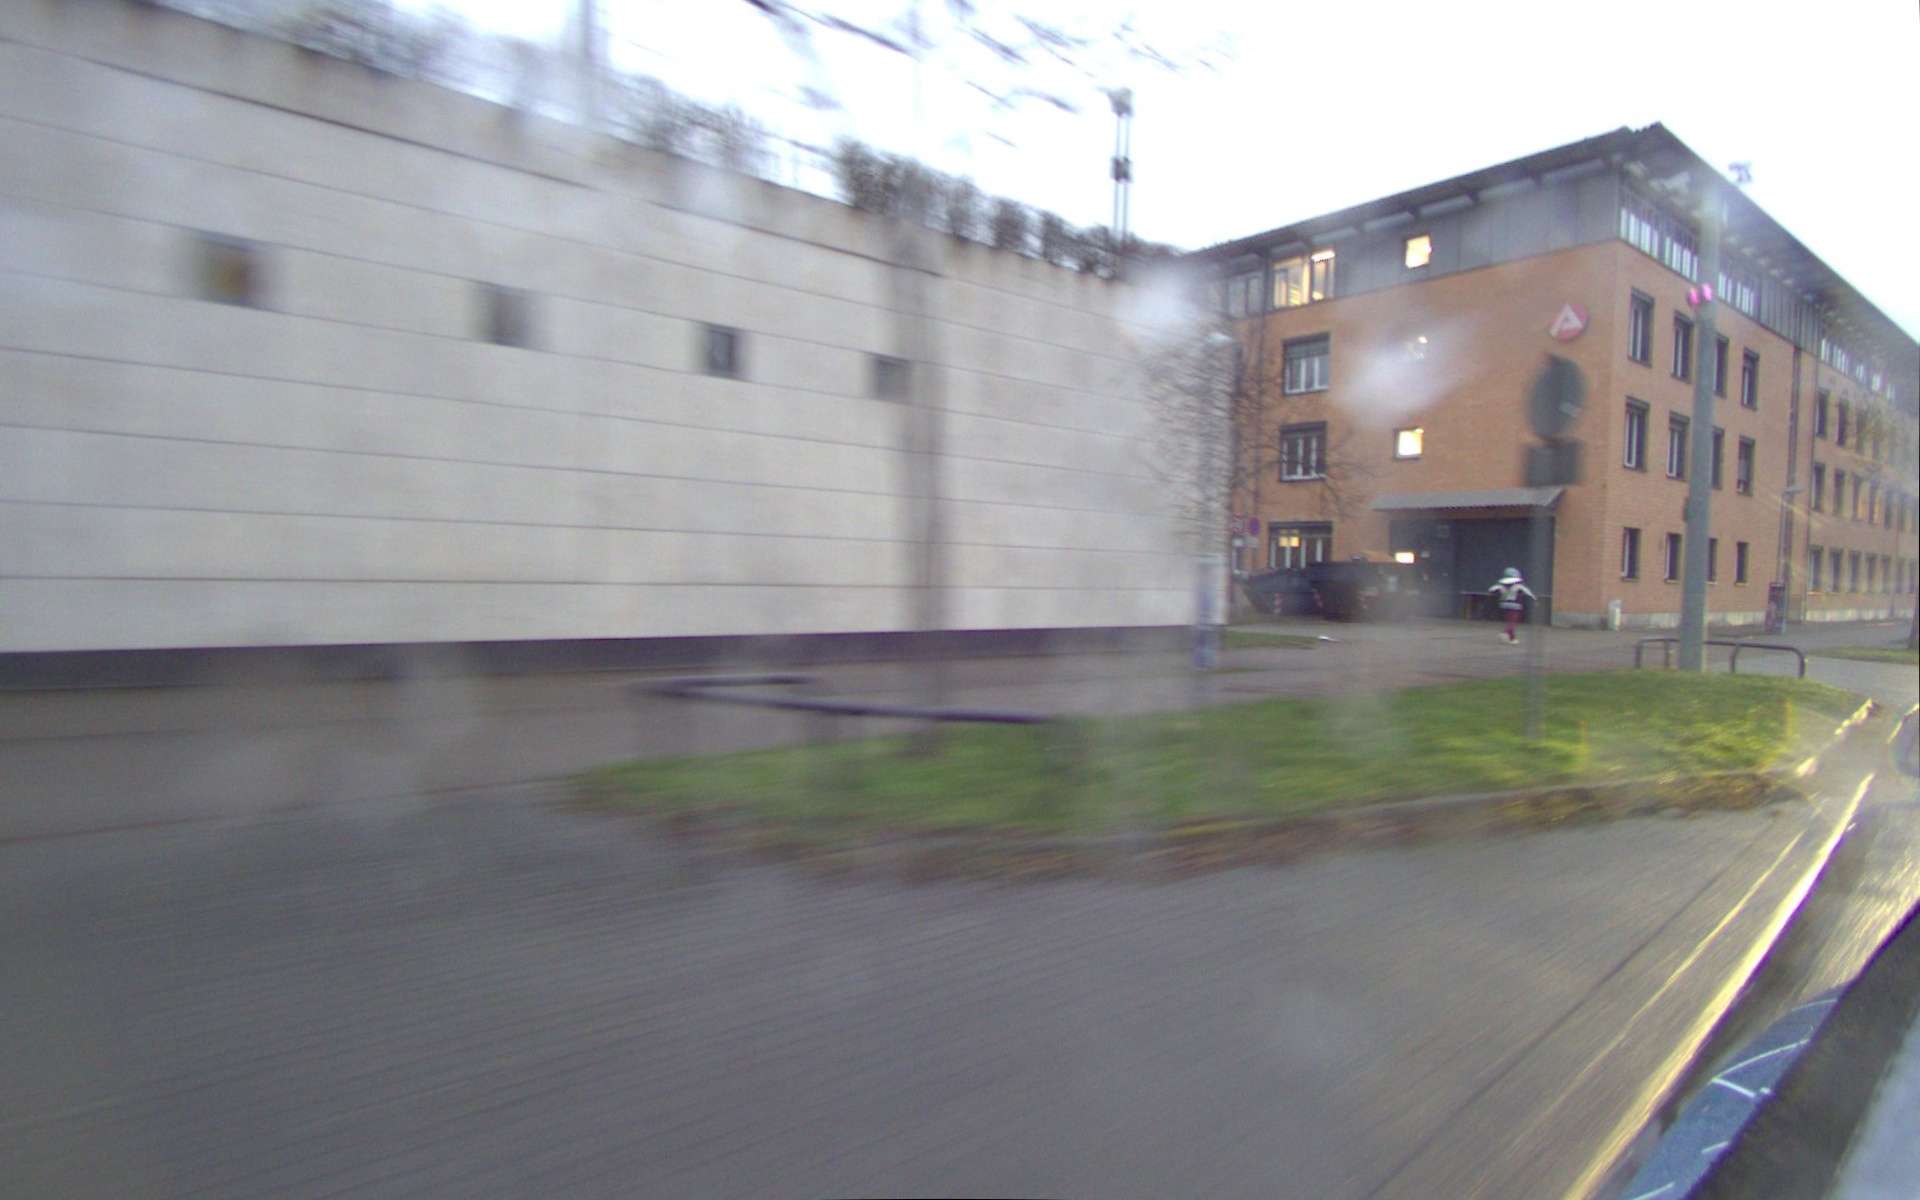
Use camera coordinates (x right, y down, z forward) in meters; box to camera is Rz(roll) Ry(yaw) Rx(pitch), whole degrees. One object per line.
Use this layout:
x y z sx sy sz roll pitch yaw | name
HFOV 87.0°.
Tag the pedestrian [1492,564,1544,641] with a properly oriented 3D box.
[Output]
12.105 0.041 21.952 1.048 1.630 0.622 0 2 -42 | pedestrian
